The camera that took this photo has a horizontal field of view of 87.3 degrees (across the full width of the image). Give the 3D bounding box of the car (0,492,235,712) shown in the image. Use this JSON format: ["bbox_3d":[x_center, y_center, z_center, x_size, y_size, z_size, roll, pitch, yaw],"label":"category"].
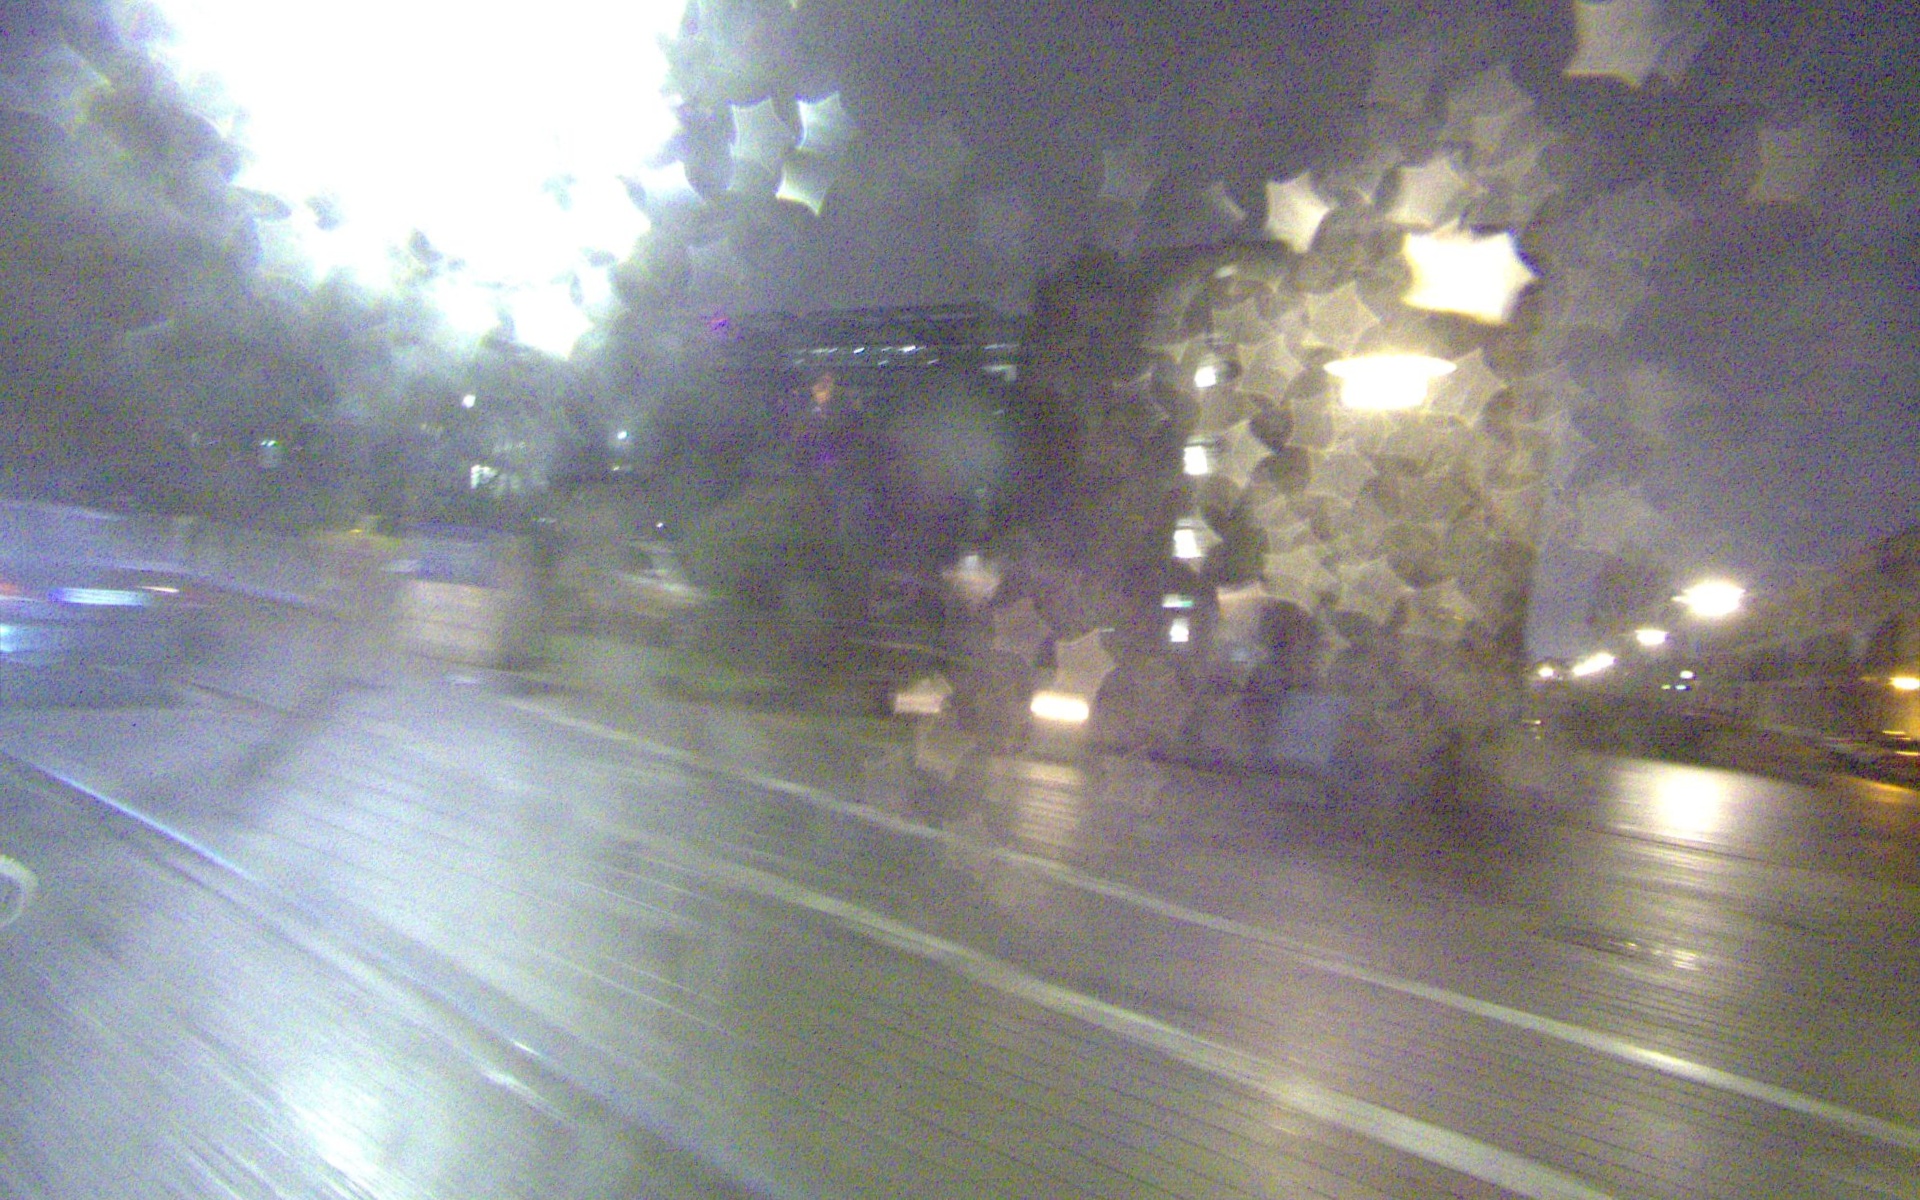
[{"bbox_3d":[-8.570,-0.182,8.651,4.706,1.468,1.792,8,2,27],"label":"car"}]

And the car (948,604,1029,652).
[{"bbox_3d":[1.271,1.229,43.221,1.641,1.635,3.995,7,-1,30],"label":"car"}]

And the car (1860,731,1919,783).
[{"bbox_3d":[34.605,5.737,35.034,4.511,1.527,1.750,7,0,34],"label":"car"}]

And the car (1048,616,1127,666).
[{"bbox_3d":[5.209,1.694,40.620,1.641,1.635,3.995,7,-1,30],"label":"car"}]

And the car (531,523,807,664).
[{"bbox_3d":[-4.940,-0.123,17.007,4.185,1.715,1.909,8,-1,28],"label":"car"}]

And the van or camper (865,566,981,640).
[{"bbox_3d":[-1.515,0.199,43.650,2.341,2.584,5.388,7,-1,29],"label":"van or camper"}]

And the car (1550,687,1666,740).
[{"bbox_3d":[26.141,4.552,40.688,3.730,1.527,1.750,7,0,32],"label":"car"}]

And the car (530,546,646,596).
[{"bbox_3d":[-14.205,-1.092,38.651,1.652,1.370,3.997,8,0,27],"label":"car"}]

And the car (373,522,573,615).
[{"bbox_3d":[-11.760,-0.777,24.211,4.783,1.566,1.832,8,0,30],"label":"car"}]

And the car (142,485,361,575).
[{"bbox_3d":[-18.356,-1.771,26.301,1.774,1.637,4.227,8,0,27],"label":"car"}]

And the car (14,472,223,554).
[{"bbox_3d":[-23.049,-2.349,27.714,1.656,1.539,3.996,8,0,27],"label":"car"}]

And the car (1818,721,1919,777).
[{"bbox_3d":[37.823,6.132,40.609,4.511,1.709,1.750,7,0,34],"label":"car"}]

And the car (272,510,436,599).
[{"bbox_3d":[-13.391,-1.012,22.206,3.349,1.487,1.565,8,0,30],"label":"car"}]

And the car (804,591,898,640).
[{"bbox_3d":[-5.045,0.778,47.373,1.875,1.827,4.660,7,-1,30],"label":"car"}]

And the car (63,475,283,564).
[{"bbox_3d":[-20.932,-2.089,26.965,1.656,1.637,4.227,8,0,27],"label":"car"}]

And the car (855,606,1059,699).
[{"bbox_3d":[-0.090,1.200,23.071,4.187,1.484,1.831,7,-2,31],"label":"car"}]

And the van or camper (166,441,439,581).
[{"bbox_3d":[-16.096,-2.088,24.965,2.135,2.557,5.070,8,0,31],"label":"van or camper"}]
